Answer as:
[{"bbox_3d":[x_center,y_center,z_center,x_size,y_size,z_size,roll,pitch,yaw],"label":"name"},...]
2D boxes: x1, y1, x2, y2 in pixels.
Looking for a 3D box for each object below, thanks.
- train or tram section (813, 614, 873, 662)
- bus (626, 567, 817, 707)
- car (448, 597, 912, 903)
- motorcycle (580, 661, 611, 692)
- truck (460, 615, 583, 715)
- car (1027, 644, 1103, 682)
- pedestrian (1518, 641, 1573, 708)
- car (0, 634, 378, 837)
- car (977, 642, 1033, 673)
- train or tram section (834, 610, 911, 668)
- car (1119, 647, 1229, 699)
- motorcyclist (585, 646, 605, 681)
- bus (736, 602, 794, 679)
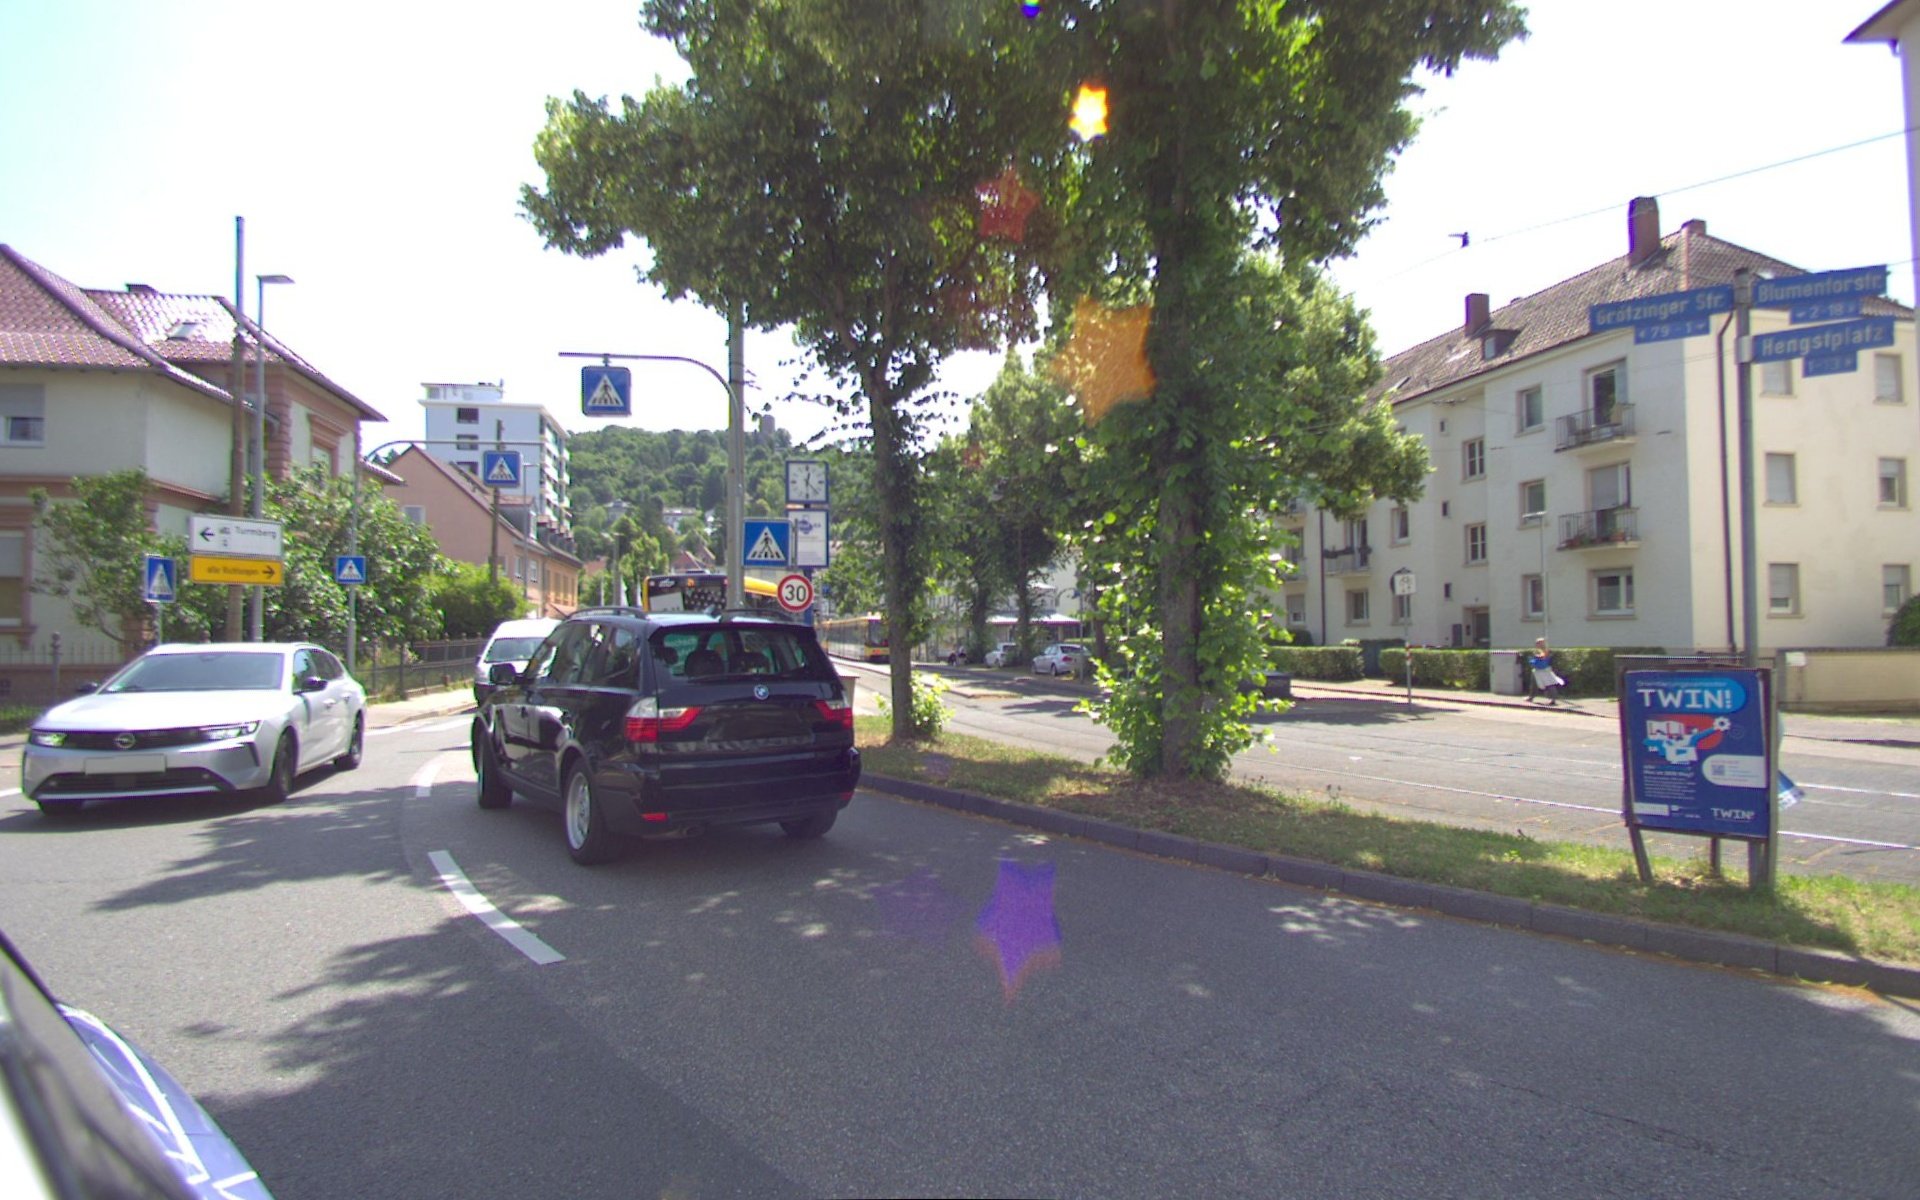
[{"bbox_3d":[-9.725,3.054,82.480,2.850,3.547,13.940,-1,-2,-15],"label":"train or tram section"},{"bbox_3d":[-6.547,1.140,29.909,2.672,3.322,10.849,-1,-3,2],"label":"bus"},{"bbox_3d":[-2.391,0.888,7.746,1.832,1.644,4.336,3,-3,-39],"label":"car"},{"bbox_3d":[-13.162,2.760,36.554,0.659,1.066,1.436,0,-2,-2],"label":"motorcycle"},{"bbox_3d":[-11.451,1.671,26.832,1.988,2.266,5.421,-3,-2,-13],"label":"truck"},{"bbox_3d":[4.364,2.609,42.649,1.814,1.494,4.269,0,-2,-14],"label":"car"},{"bbox_3d":[14.018,1.769,24.240,0.764,1.572,0.746,-1,-2,-15],"label":"pedestrian"},{"bbox_3d":[-7.151,1.122,9.801,1.771,1.477,4.183,-1,-3,-18],"label":"car"},{"bbox_3d":[2.276,2.918,51.889,1.814,1.494,3.883,0,-2,-14],"label":"car"},{"bbox_3d":[-6.191,2.632,69.008,2.850,3.547,13.940,-1,-2,-15],"label":"train or tram section"},{"bbox_3d":[6.694,2.257,32.040,1.814,1.494,3.966,0,-2,-14],"label":"car"},{"bbox_3d":[-13.180,2.294,36.550,0.533,1.252,0.555,0,-2,-2],"label":"motorcyclist"},{"bbox_3d":[-10.505,2.181,53.775,2.652,3.635,12.237,0,-3,-12],"label":"bus"}]
